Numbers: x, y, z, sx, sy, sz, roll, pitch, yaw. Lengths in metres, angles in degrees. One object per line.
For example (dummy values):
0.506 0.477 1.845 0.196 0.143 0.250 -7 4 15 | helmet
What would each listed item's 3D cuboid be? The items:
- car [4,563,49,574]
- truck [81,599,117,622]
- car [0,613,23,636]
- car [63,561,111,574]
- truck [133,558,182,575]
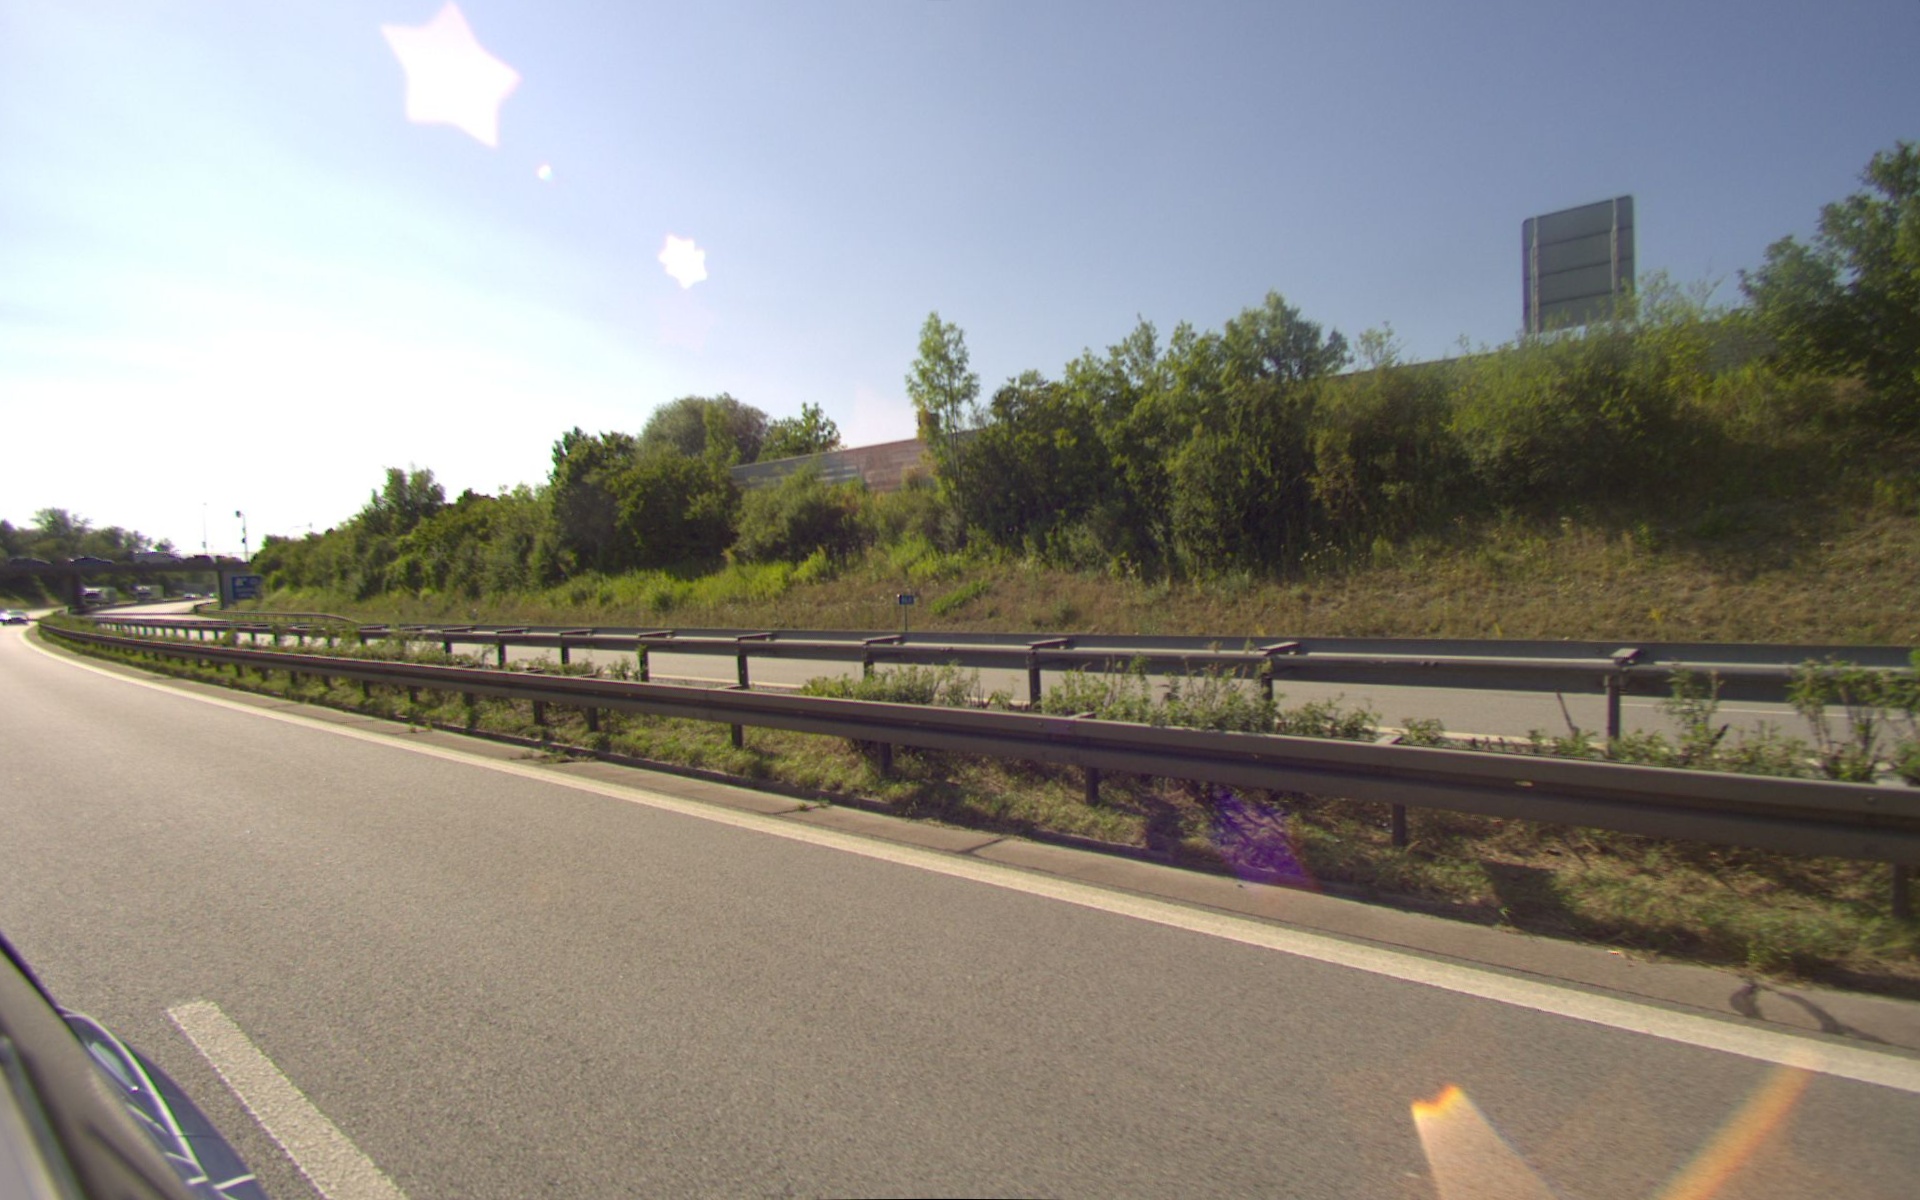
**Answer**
-111.845 -3.777 121.272 3.785 1.315 1.828 -1 1 -40 | car
-169.738 2.047 199.649 3.378 4.243 12.122 -1 1 -30 | truck
-88.488 2.239 93.933 1.969 2.029 4.606 -3 1 -41 | car
-108.002 -4.019 125.281 4.372 1.567 1.910 -1 1 -39 | car
-102.738 -4.287 129.592 4.795 2.183 2.004 -1 1 -39 | truck
